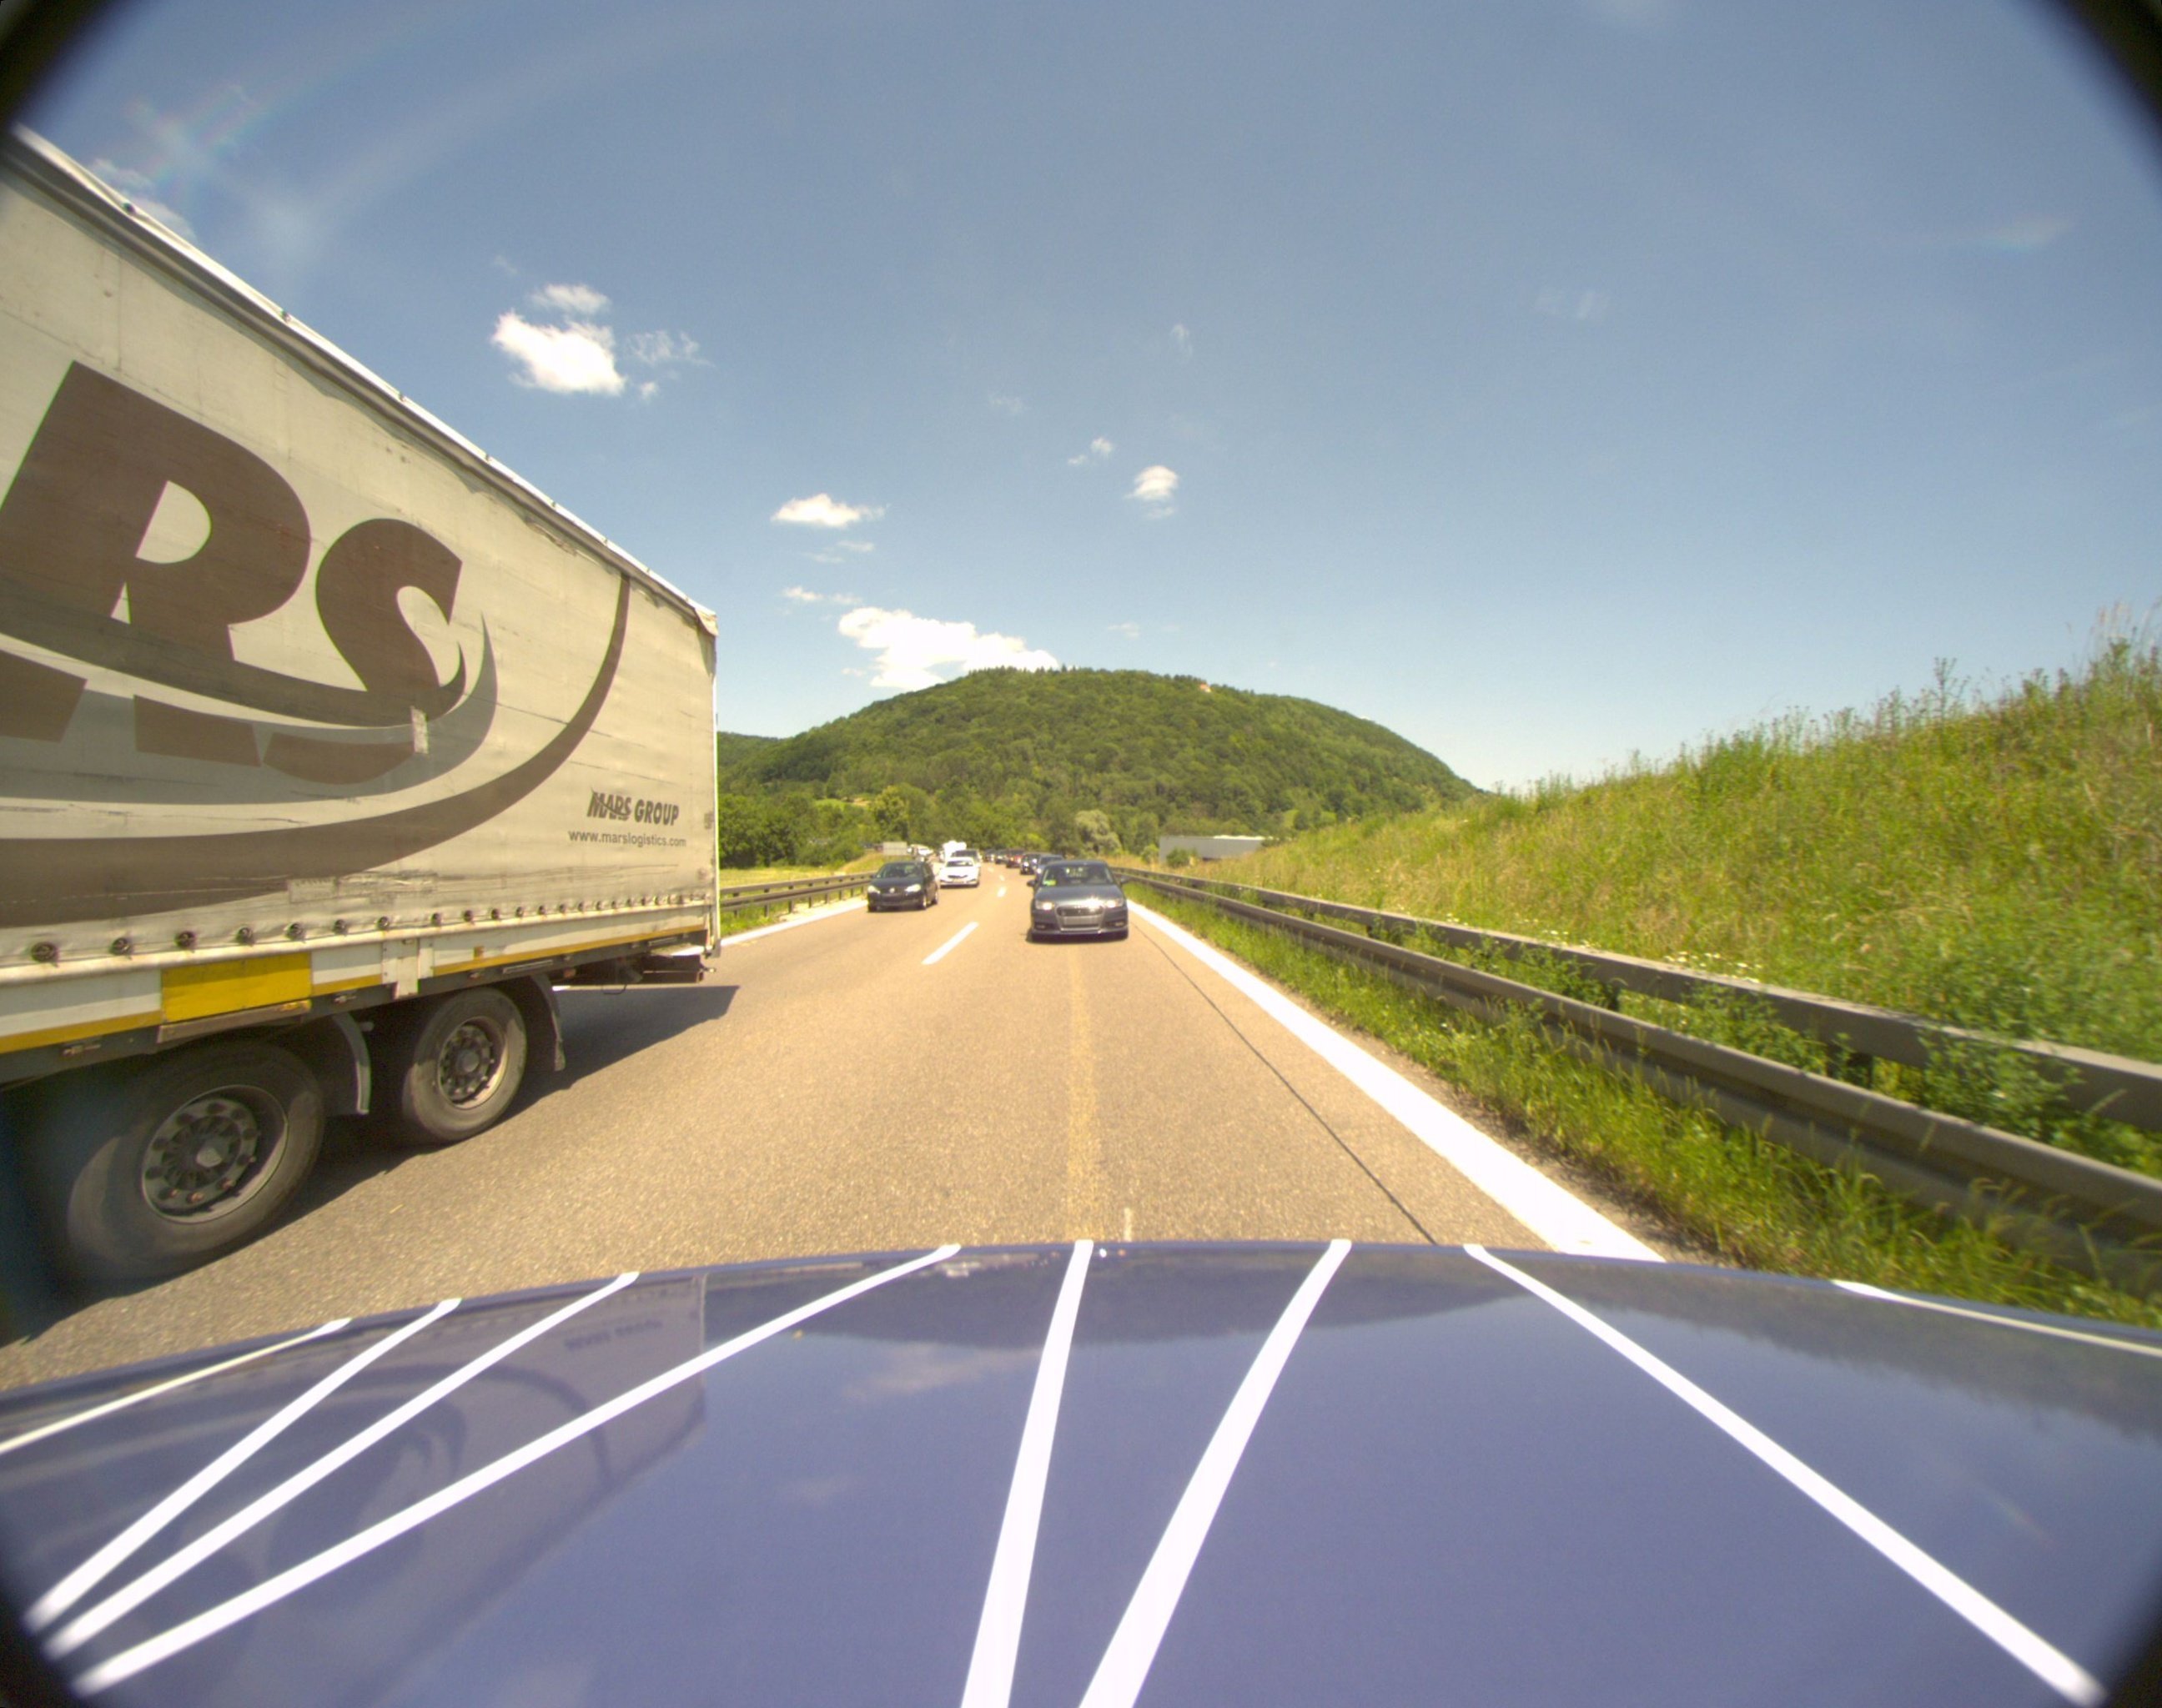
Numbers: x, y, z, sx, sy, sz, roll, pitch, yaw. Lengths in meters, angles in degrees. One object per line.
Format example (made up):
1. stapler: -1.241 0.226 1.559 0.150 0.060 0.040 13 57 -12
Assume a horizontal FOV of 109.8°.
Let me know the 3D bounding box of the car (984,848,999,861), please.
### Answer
1. car: -12.425 0.042 104.848 1.532 1.628 3.414 -4 1 -14

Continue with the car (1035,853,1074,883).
1. car: -1.399 0.672 38.716 1.697 1.422 3.461 -2 0 -6

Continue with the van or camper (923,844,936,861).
1. van or camper: -27.757 -0.322 138.736 1.912 3.010 4.867 -1 0 -16

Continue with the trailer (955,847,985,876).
1. trailer: -7.917 0.528 54.241 2.000 1.958 3.997 -1 0 -8

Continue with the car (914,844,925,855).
1. car: -31.331 -0.942 147.275 2.001 2.002 3.995 -3 1 -14

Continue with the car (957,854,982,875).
1. car: -7.367 0.671 50.393 1.489 1.375 3.736 0 0 -7

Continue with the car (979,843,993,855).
1. car: -14.245 -0.763 113.519 1.532 1.628 3.414 -4 1 -14

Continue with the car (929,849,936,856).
1. car: -30.344 -0.301 155.277 1.247 1.470 2.957 -4 1 -13

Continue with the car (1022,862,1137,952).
1. car: -0.178 0.881 14.517 1.756 1.382 4.053 -2 0 -6

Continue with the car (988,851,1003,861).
1. car: -10.874 0.256 96.288 1.492 1.102 3.210 -3 1 -12

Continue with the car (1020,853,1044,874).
1. car: -3.452 0.626 53.033 1.287 1.305 3.450 -5 1 -8

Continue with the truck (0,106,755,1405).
1. truck: -4.695 -0.286 1.027 2.733 4.044 13.737 -2 1 -1

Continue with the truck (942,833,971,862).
1. truck: -14.770 -0.701 89.922 2.605 3.089 6.849 -4 1 -14

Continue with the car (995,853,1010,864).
1. car: -8.681 0.450 83.781 1.492 1.102 3.211 -3 1 -9

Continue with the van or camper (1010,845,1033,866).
1. van or camper: -5.480 0.146 70.066 1.819 1.855 3.610 -2 0 -8

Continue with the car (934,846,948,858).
1. car: -19.982 -0.280 108.440 1.700 1.523 3.676 -4 1 -13

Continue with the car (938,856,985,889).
1. car: -5.819 0.877 37.383 1.908 1.422 3.720 -3 1 -4

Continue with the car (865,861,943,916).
1. car: -5.268 0.981 23.056 1.696 1.414 3.836 -2 0 -5
